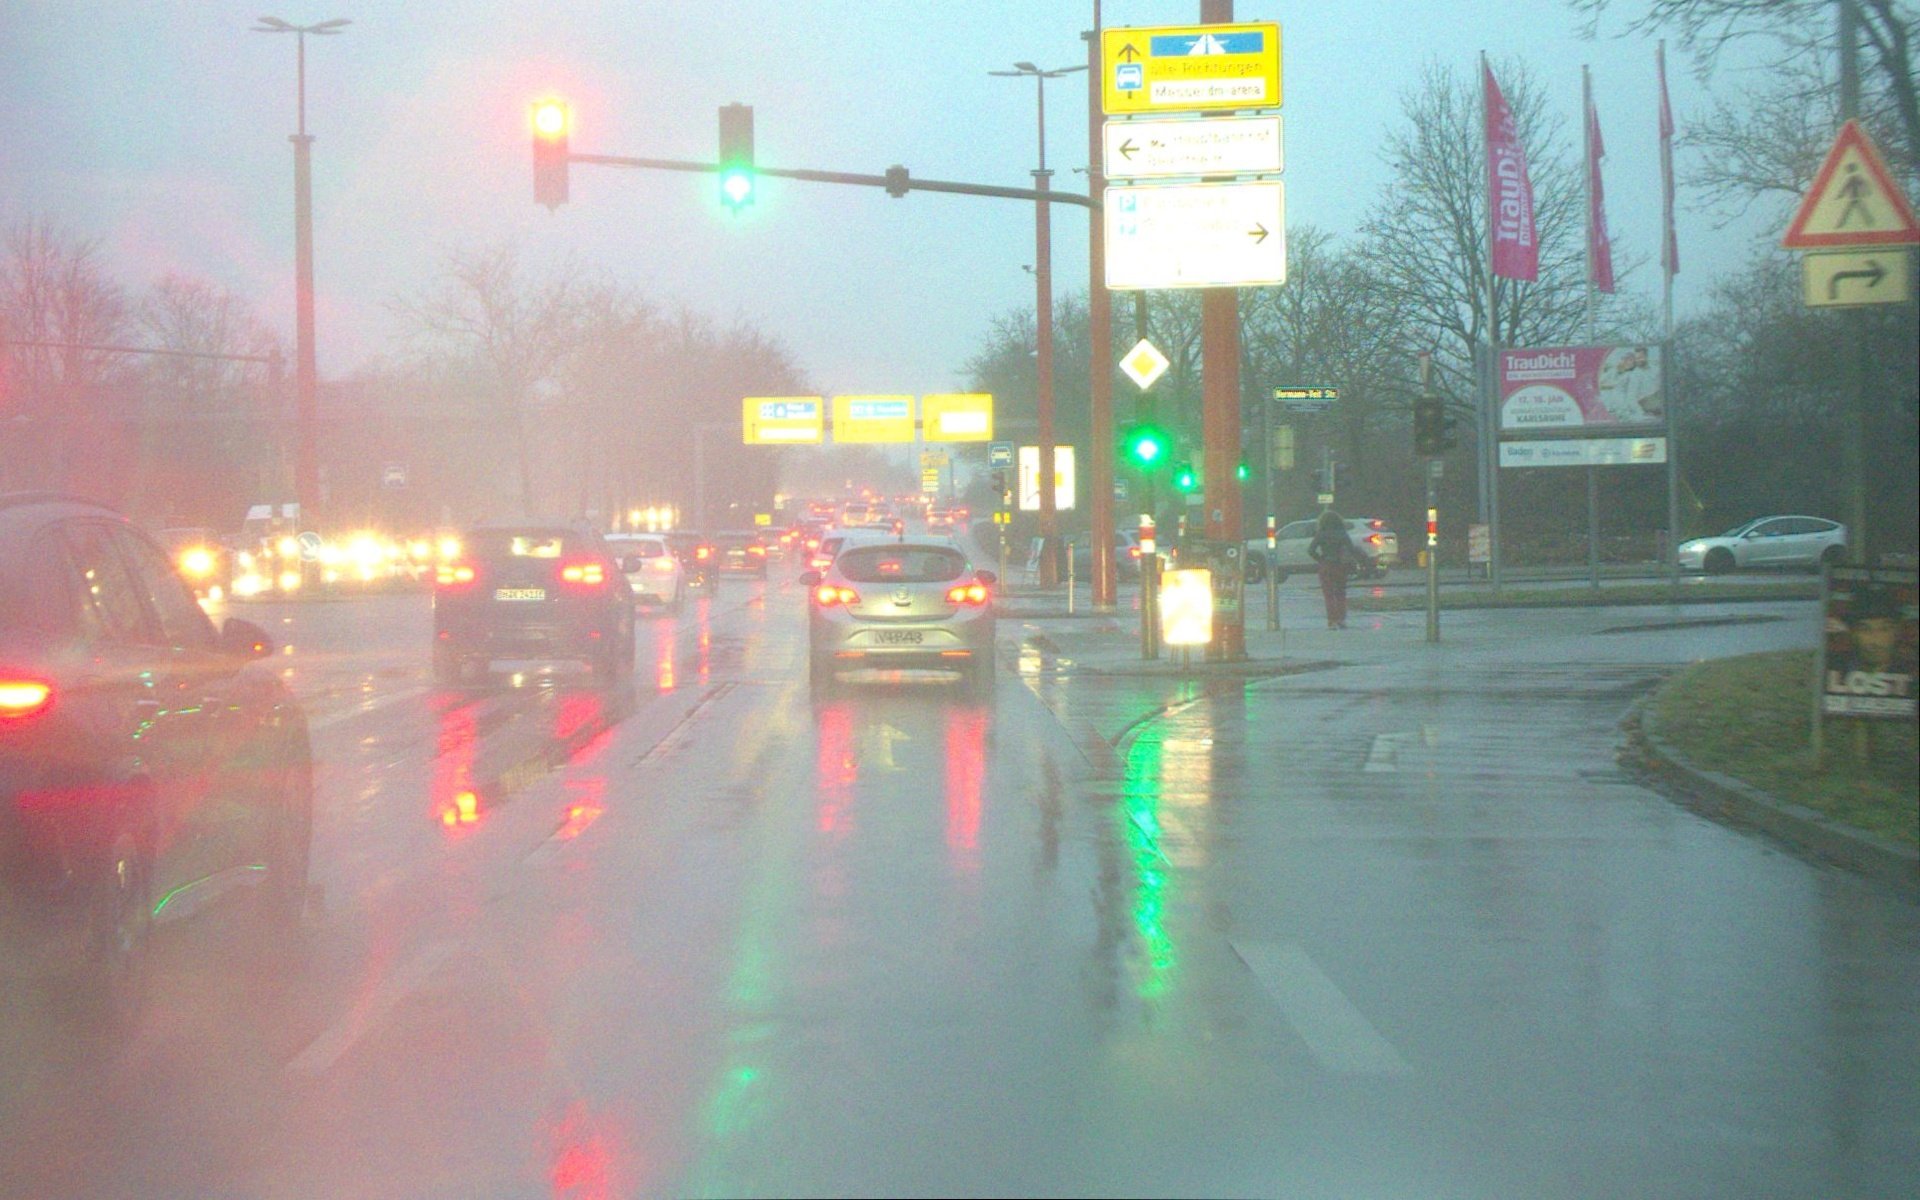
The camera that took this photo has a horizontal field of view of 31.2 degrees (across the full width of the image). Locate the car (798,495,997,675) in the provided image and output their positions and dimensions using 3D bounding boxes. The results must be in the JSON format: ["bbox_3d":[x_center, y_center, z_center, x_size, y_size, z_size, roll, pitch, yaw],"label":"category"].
[{"bbox_3d":[-0.601,-0.179,34.225,1.822,1.642,4.467,-1,1,-1],"label":"car"}]

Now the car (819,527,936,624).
[{"bbox_3d":[-1.455,-0.438,61.488,1.993,1.656,4.000,1,0,-1],"label":"car"}]

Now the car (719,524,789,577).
[{"bbox_3d":[-6.017,-1.458,100.638,1.822,1.499,4.000,0,1,-1],"label":"car"}]

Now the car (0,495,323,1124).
[{"bbox_3d":[-3.388,0.514,11.197,1.822,1.642,4.467,0,1,-1],"label":"car"}]

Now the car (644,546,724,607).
[{"bbox_3d":[-6.232,-0.549,77.883,1.505,1.334,4.000,0,1,-1],"label":"car"}]

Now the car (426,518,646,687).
[{"bbox_3d":[-4.358,-0.011,35.845,1.822,1.642,4.000,0,1,-1],"label":"car"}]

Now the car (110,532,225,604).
[{"bbox_3d":[-18.268,-0.770,79.377,1.856,1.576,4.080,-1,1,-3],"label":"car"}]

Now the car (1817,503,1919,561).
[{"bbox_3d":[23.318,-1.644,83.076,4.739,1.371,1.883,0,1,-1],"label":"car"}]

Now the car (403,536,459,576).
[{"bbox_3d":[-21.638,-1.815,140.824,1.770,1.581,4.034,-1,1,-2],"label":"car"}]

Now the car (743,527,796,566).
[{"bbox_3d":[-7.914,-2.214,143.125,1.993,1.571,4.000,1,0,-1],"label":"car"}]

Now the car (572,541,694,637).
[{"bbox_3d":[-5.824,-0.228,61.610,1.822,1.642,4.000,0,1,-1],"label":"car"}]
